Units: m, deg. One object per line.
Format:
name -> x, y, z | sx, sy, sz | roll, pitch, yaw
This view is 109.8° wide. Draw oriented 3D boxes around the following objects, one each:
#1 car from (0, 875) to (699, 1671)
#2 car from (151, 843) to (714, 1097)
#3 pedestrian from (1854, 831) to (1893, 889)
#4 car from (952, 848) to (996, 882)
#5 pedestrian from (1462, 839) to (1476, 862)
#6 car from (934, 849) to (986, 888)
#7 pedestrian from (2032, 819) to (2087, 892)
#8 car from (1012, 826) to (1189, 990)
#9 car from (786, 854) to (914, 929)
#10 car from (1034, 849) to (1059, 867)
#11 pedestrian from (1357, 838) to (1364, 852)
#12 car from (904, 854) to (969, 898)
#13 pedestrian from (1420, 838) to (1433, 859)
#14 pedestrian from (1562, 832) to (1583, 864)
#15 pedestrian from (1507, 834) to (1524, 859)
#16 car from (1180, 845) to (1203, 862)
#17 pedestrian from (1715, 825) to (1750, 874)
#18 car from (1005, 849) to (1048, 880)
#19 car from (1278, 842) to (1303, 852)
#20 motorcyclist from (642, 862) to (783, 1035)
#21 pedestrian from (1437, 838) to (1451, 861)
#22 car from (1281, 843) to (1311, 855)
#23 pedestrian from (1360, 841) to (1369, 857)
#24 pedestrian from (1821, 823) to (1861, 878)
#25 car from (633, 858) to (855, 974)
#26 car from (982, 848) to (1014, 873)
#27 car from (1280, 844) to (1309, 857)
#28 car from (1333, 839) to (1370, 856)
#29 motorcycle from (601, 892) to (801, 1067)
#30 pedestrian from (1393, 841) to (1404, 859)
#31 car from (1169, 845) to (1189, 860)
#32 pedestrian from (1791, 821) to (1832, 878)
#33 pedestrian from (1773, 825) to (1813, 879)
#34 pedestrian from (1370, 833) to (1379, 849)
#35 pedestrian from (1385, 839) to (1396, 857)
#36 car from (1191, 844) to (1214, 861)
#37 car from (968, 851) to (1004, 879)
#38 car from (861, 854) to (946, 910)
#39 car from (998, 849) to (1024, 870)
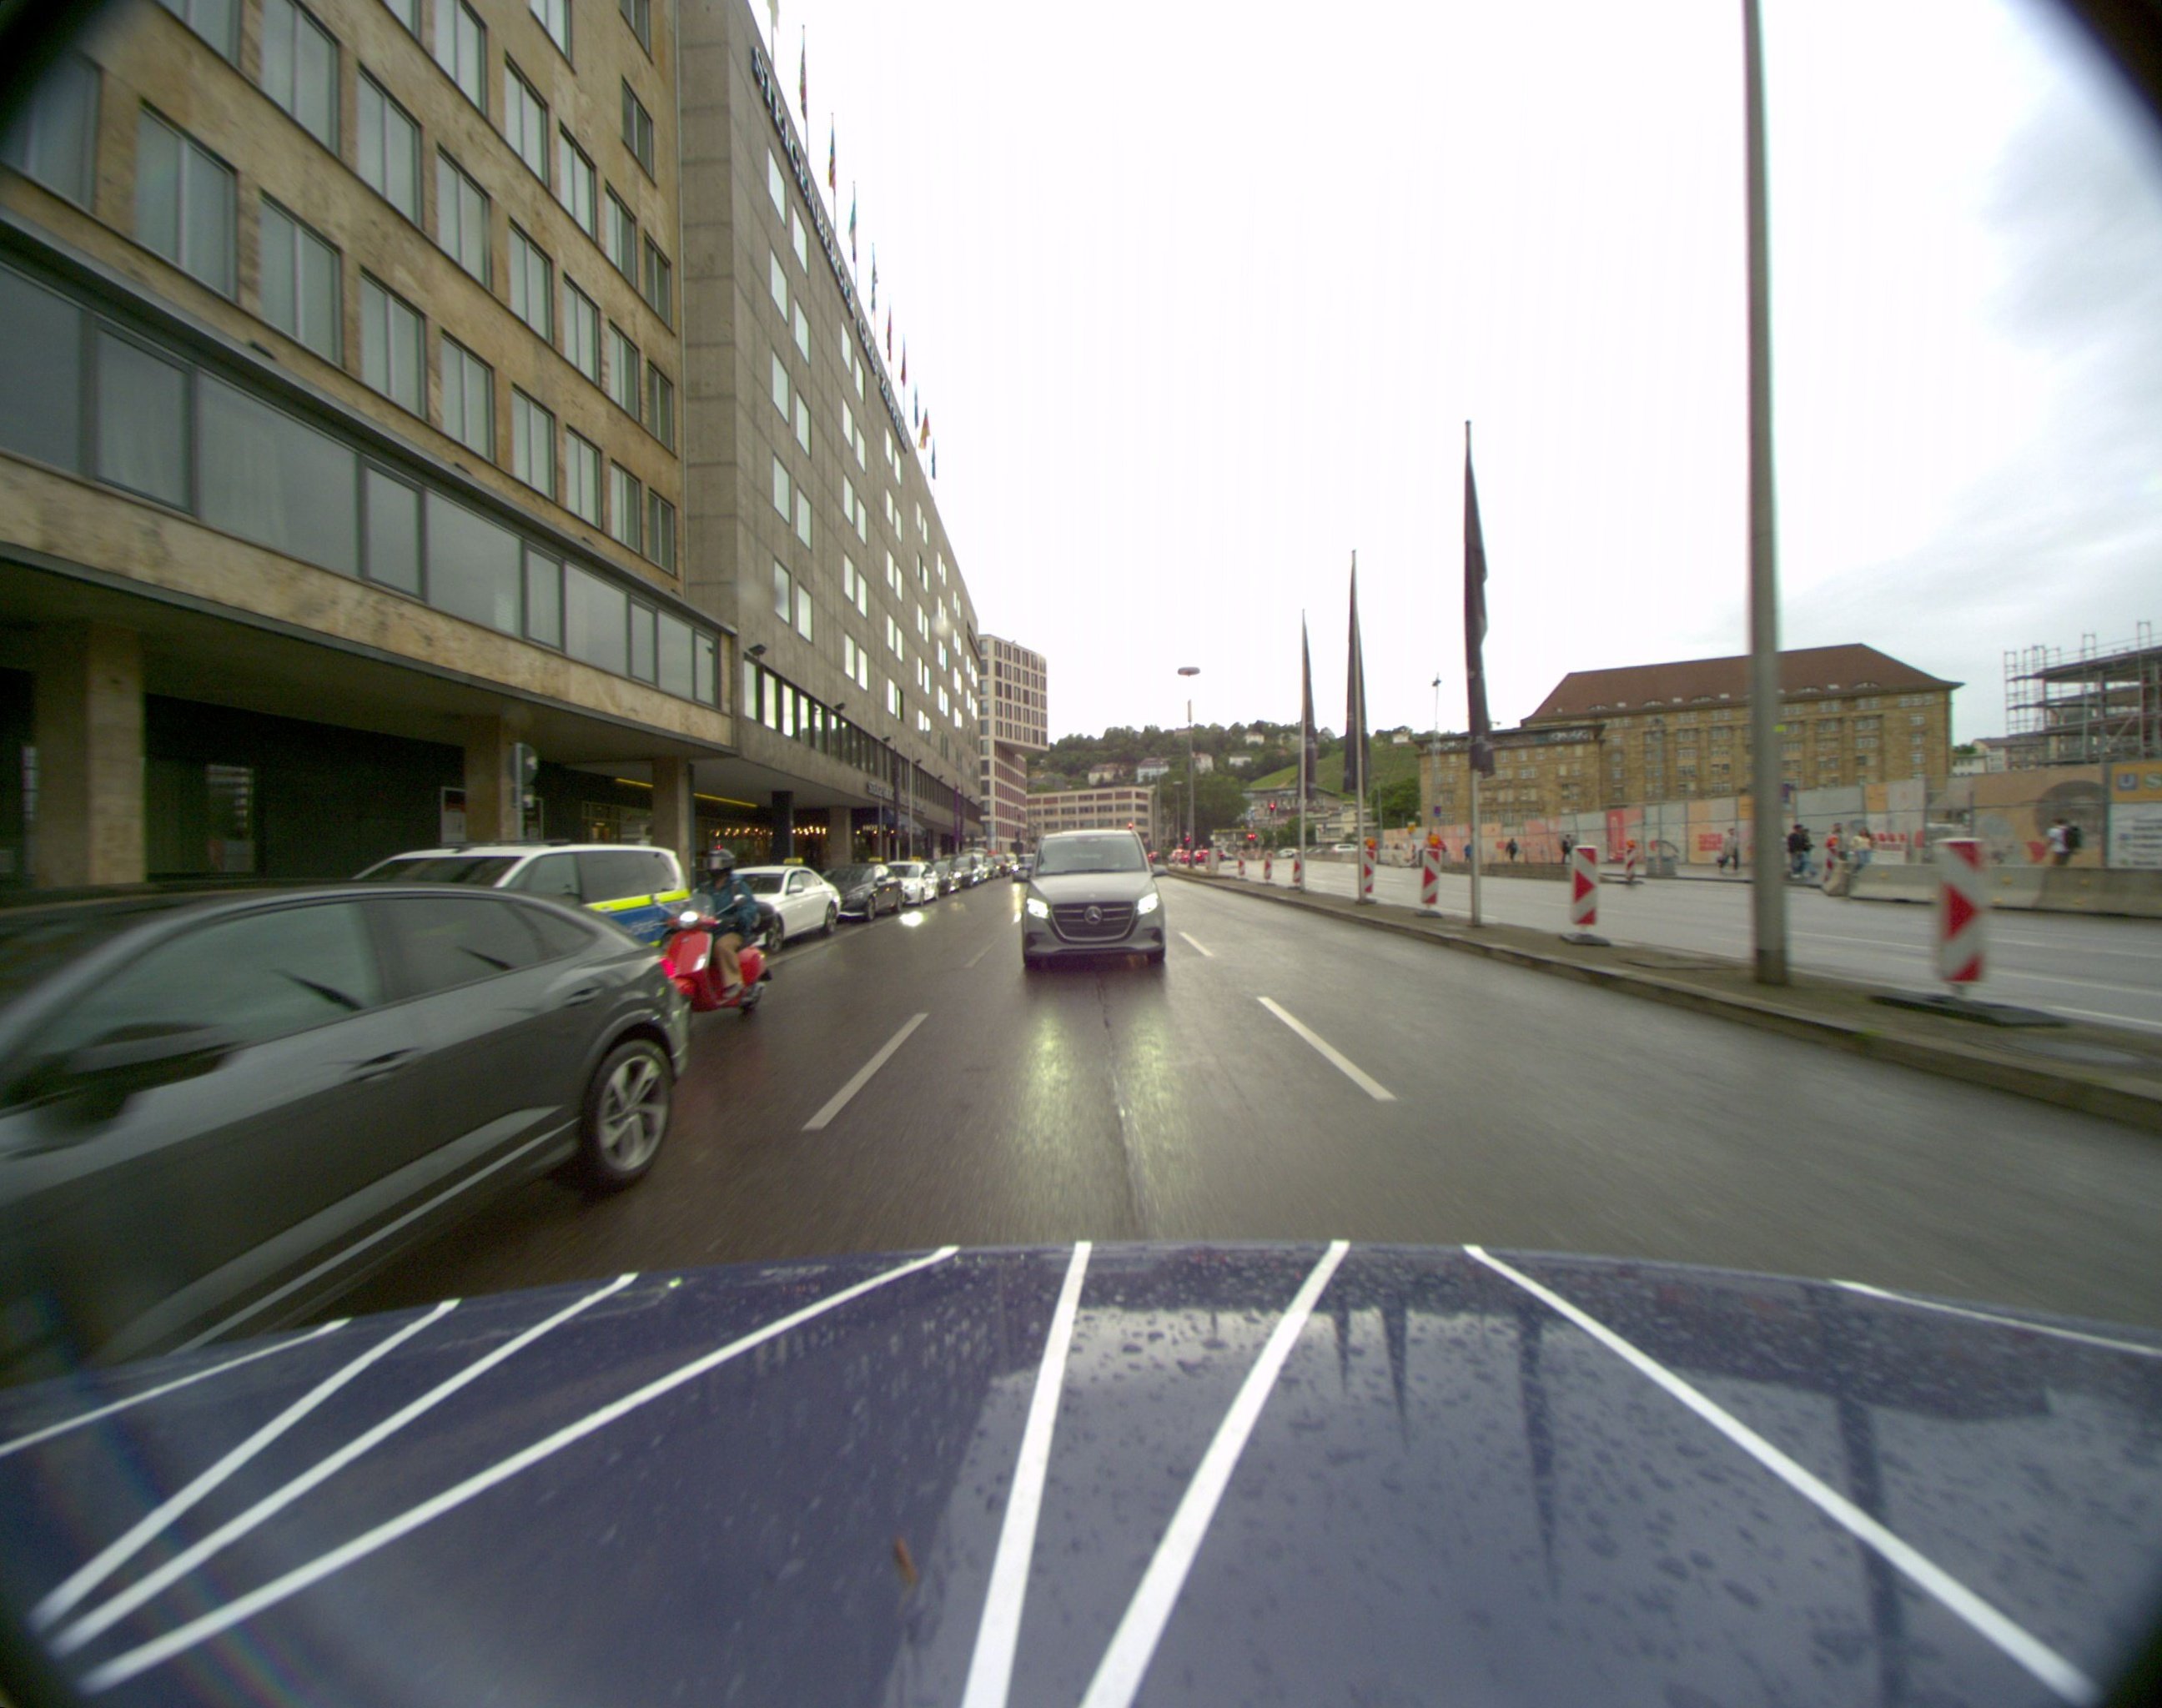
car -> -3.156, 0.944, 2.085 | 1.883, 1.493, 4.342 | -3, 1, 1
car -> -6.259, 0.875, 8.419 | 1.879, 1.909, 4.934 | -3, 1, 0
pedestrian -> 25.367, 0.182, 24.328 | 0.661, 1.825, 0.556 | -2, 2, 21
car -> -6.055, 0.586, 43.411 | 1.731, 1.733, 4.813 | -3, 1, 0
pedestrian -> 27.698, -0.246, 54.221 | 0.715, 1.607, 0.544 | -3, 2, 1
car -> -6.012, 0.672, 38.215 | 1.731, 1.733, 4.813 | -3, 1, 0
pedestrian -> 25.224, 0.035, 19.587 | 0.482, 1.825, 0.717 | -3, 2, 1
car -> 0.263, 0.594, 11.500 | 1.998, 1.849, 5.159 | -3, 1, 1
car -> -6.020, 0.882, 20.504 | 1.879, 1.628, 4.813 | -3, 1, 0
car -> -3.366, 0.358, 74.836 | 2.089, 1.540, 4.587 | -3, 1, 0
pedestrian -> 32.784, -1.036, 89.200 | 0.715, 1.607, 0.544 | -2, 2, 17
car -> -5.999, 0.850, 32.046 | 1.731, 1.583, 4.813 | -3, 1, 0
pedestrian -> 27.446, -0.442, 60.317 | 0.715, 1.607, 0.544 | -3, 2, 1
pedestrian -> 25.641, -0.318, 39.660 | 0.715, 1.607, 0.544 | -3, 2, 1
pedestrian -> 28.036, -0.498, 49.014 | 0.715, 1.607, 0.544 | -3, 2, 1
car -> 12.083, -0.041, 83.301 | 1.785, 1.684, 3.915 | -3, 1, -1
pedestrian -> 24.934, -0.191, 29.088 | 0.664, 1.825, 0.720 | -3, 2, 1
car -> -3.090, 0.580, 44.209 | 2.089, 1.540, 4.587 | -3, 1, 0
car -> 35.008, -1.190, 126.966 | 3.993, 1.622, 2.002 | -1, 1, 14
motorcyclist -> -3.512, 0.870, 7.326 | 0.861, 1.519, 0.844 | -3, 1, 1
pedestrian -> 26.698, -0.332, 55.841 | 0.715, 1.607, 0.544 | -3, 2, 1
car -> 30.722, -0.705, 108.688 | 3.993, 1.622, 2.002 | -1, 1, 14
pedestrian -> 29.016, -0.529, 77.678 | 0.715, 1.607, 0.544 | -2, 2, 5
pedestrian -> 24.586, -0.116, 24.586 | 0.714, 1.734, 0.564 | -2, 2, 21
car -> -6.032, 0.985, 14.422 | 1.879, 1.628, 5.010 | -3, 1, 0
car -> -5.846, 0.447, 54.095 | 1.731, 1.604, 4.000 | -3, 1, 0
car -> 34.792, -0.528, 124.069 | 4.194, 1.847, 1.832 | -3, 1, 6
car -> 35.620, -0.814, 100.091 | 4.394, 2.002, 2.002 | -2, 1, 17
motorcycle -> -3.525, 1.095, 7.317 | 0.848, 1.299, 1.965 | -3, 1, 1
pedestrian -> 27.897, -0.354, 66.714 | 0.715, 1.607, 0.544 | -3, 2, 1
car -> 11.822, -0.169, 91.562 | 1.785, 1.684, 3.915 | -3, 1, -1
pedestrian -> 24.393, -0.155, 25.385 | 0.714, 1.825, 0.718 | -2, 2, 19
pedestrian -> 23.386, -0.067, 24.959 | 0.714, 1.723, 0.718 | -2, 2, 19
pedestrian -> 29.947, -1.344, 77.509 | 0.715, 1.607, 0.544 | -2, 2, 5
pedestrian -> 28.974, -0.555, 71.154 | 0.715, 1.607, 0.544 | -3, 2, 1
car -> 12.385, -0.185, 77.596 | 1.785, 1.684, 3.916 | -1, 1, 0
car -> -6.094, 0.645, 48.919 | 1.731, 1.604, 4.000 | -3, 1, 0
car -> -5.991, 0.871, 26.232 | 1.731, 1.583, 4.813 | -3, 1, 0
car -> -5.886, 0.406, 64.415 | 1.731, 1.604, 4.000 | -3, 1, 0
